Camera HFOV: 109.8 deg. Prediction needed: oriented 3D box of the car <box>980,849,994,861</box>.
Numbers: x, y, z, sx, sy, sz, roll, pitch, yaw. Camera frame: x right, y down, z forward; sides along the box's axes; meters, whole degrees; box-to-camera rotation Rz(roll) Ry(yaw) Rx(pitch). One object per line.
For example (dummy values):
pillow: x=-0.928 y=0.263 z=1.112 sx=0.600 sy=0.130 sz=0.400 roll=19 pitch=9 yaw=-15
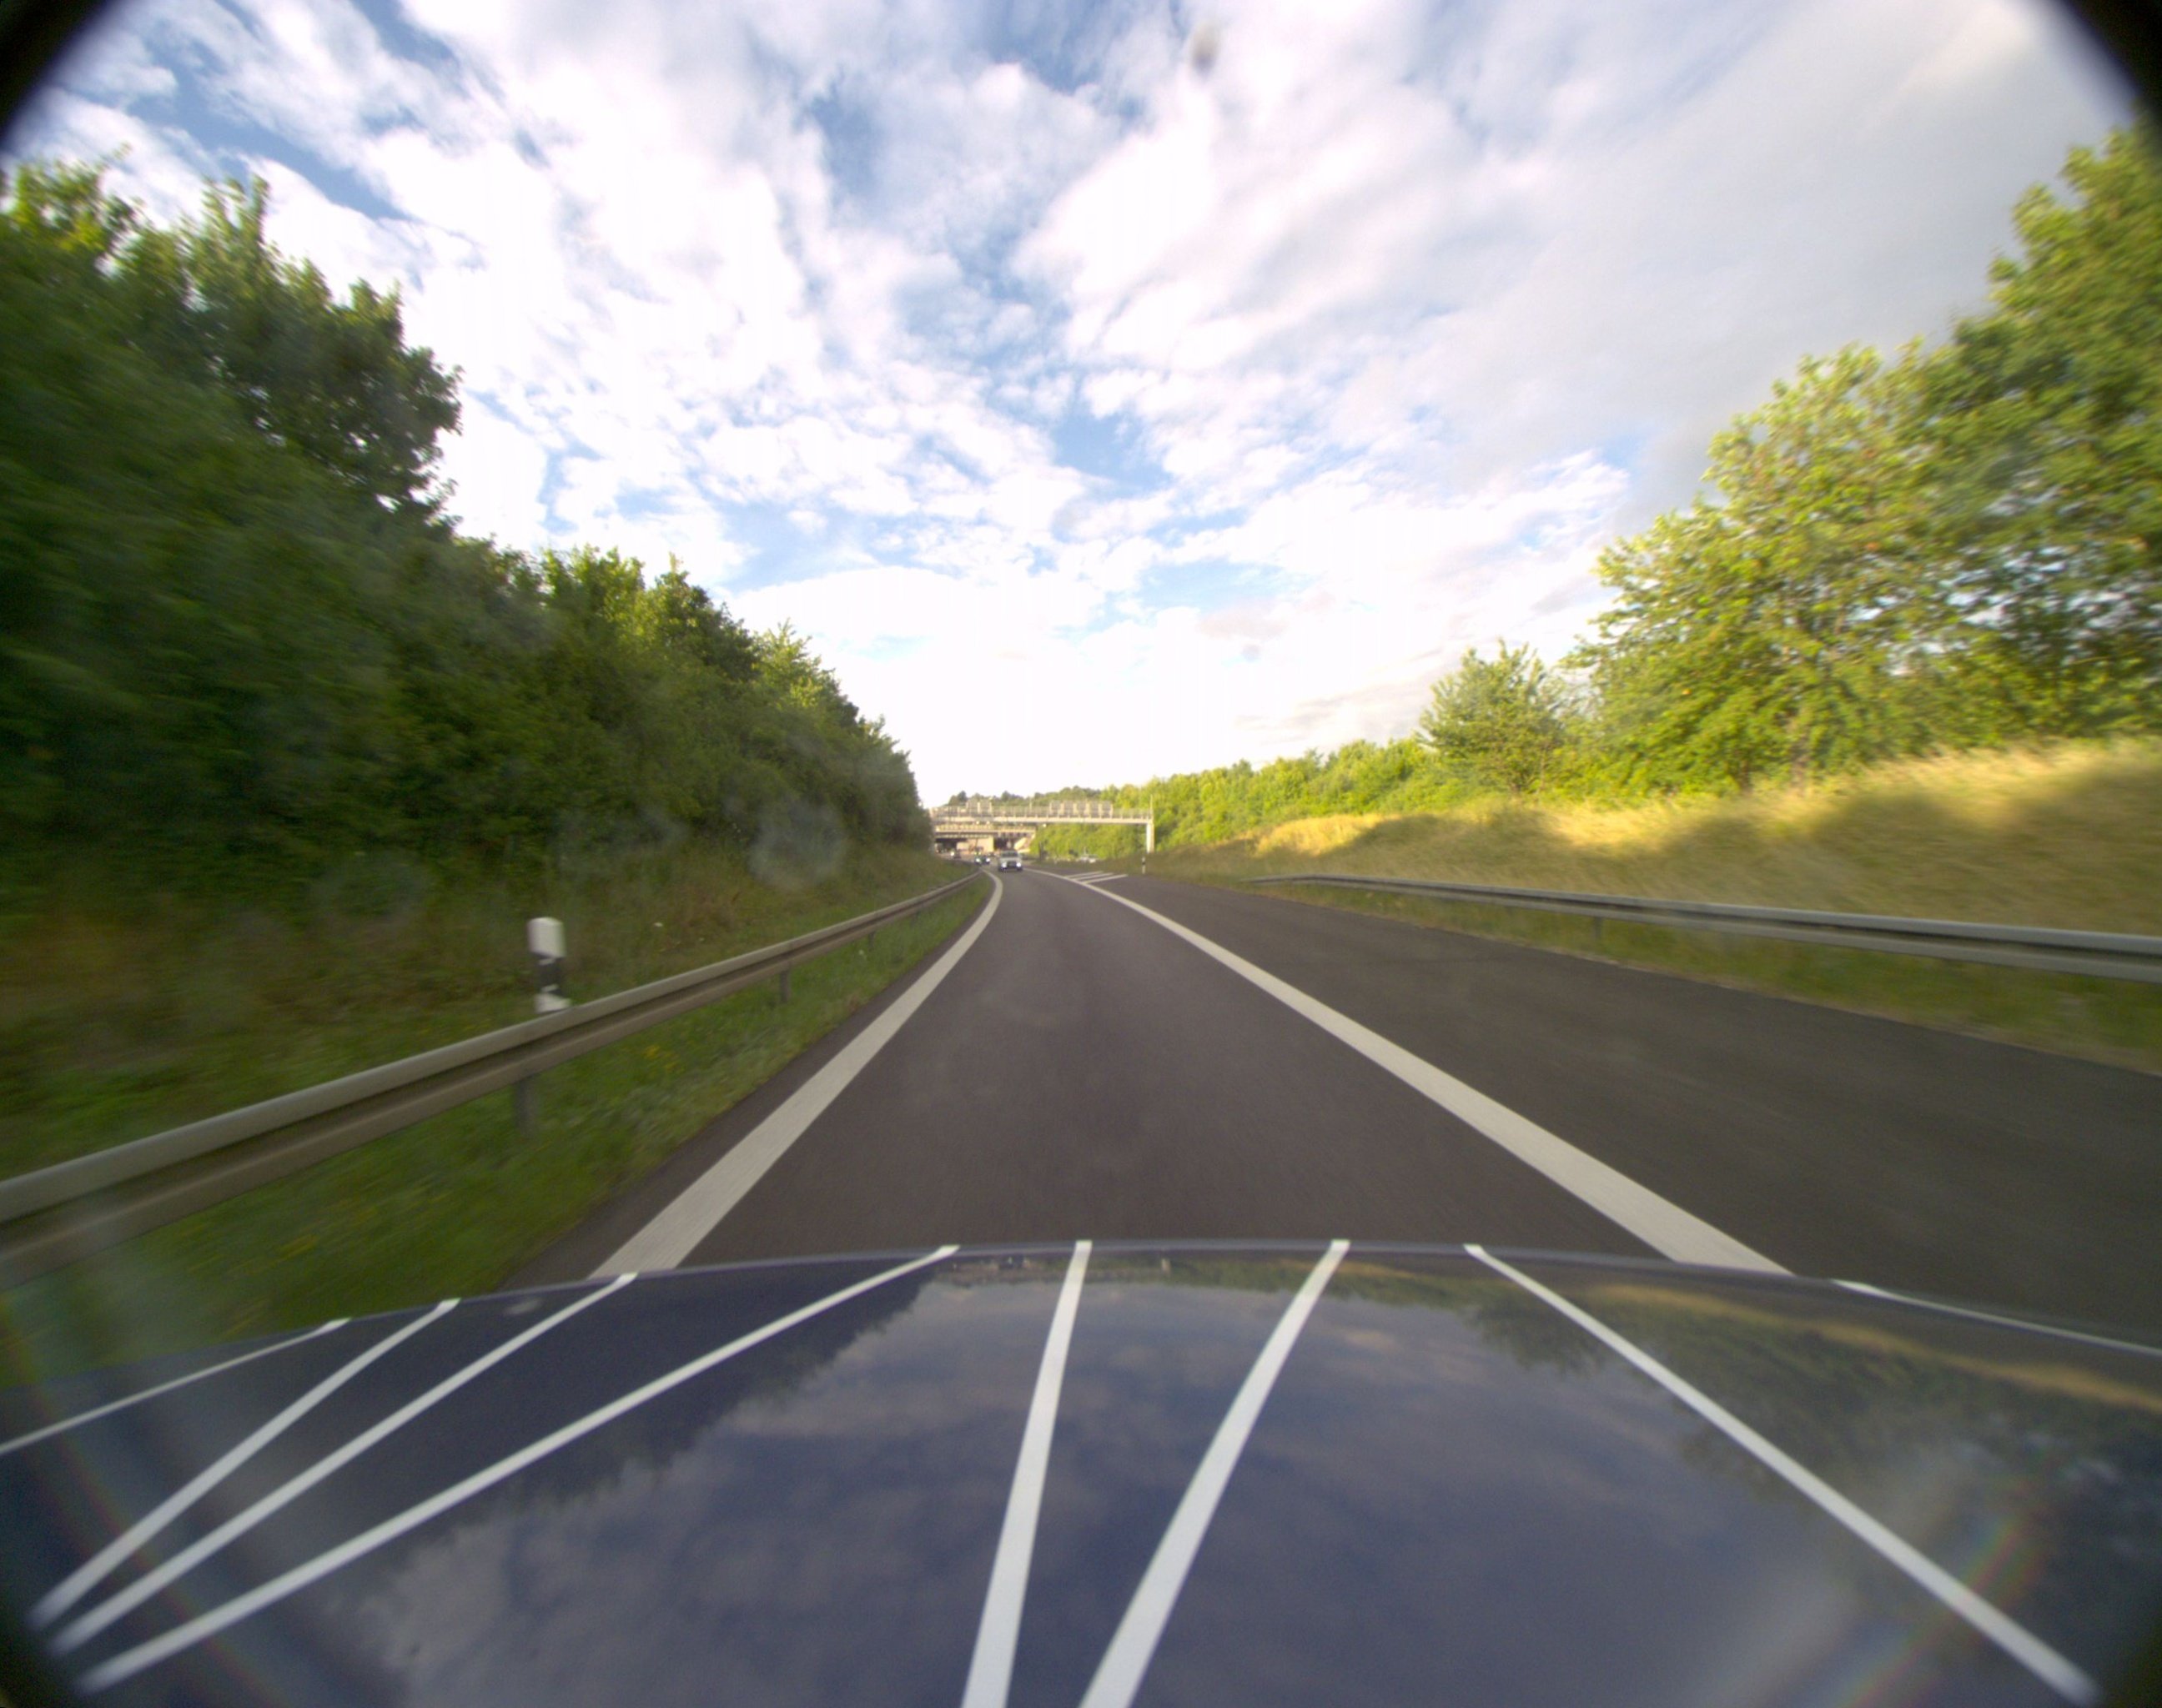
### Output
car: x=-12.663 y=0.116 z=102.218 sx=1.621 sy=1.451 sz=3.659 roll=-2 pitch=1 yaw=-10

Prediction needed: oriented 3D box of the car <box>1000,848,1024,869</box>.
car: x=-5.935 y=0.385 z=65.364 sx=1.906 sy=1.655 sz=3.997 roll=-1 pitch=1 yaw=-7

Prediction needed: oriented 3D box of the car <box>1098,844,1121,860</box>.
car: x=3.766 y=-0.222 z=101.145 sx=1.867 sy=2.002 sz=3.994 roll=-3 pitch=1 yaw=-17

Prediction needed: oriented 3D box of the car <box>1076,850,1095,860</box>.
car: x=0.581 y=0.127 z=104.522 sx=1.799 sy=1.284 sz=3.995 roll=-1 pitch=1 yaw=-12
